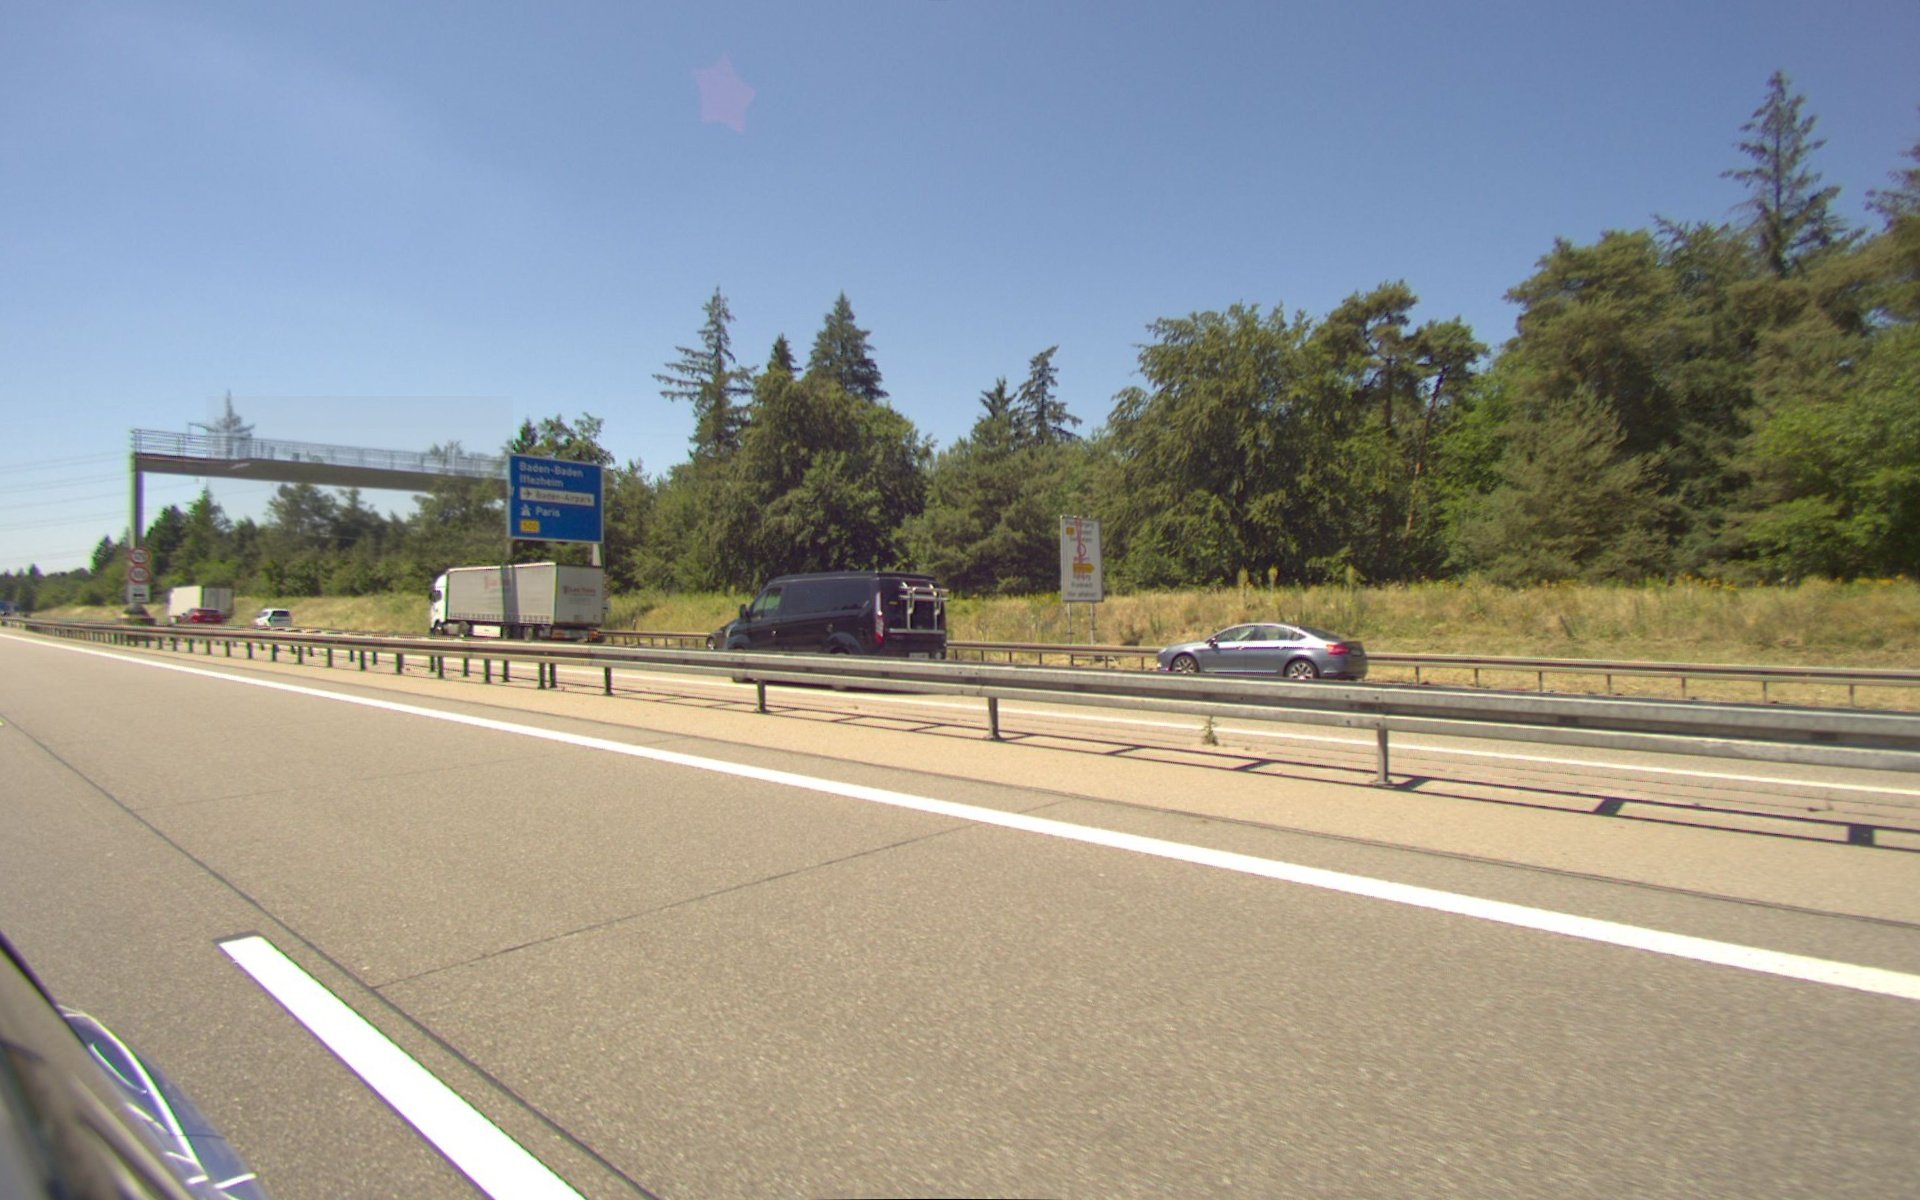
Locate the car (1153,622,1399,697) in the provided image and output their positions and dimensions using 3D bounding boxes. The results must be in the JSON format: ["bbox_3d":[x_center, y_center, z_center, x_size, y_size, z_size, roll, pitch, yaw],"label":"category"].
[{"bbox_3d":[6.988,1.252,22.742,4.942,1.474,1.906,-1,-1,42],"label":"car"}]

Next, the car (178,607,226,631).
[{"bbox_3d":[-54.077,1.340,72.167,4.920,1.622,1.827,0,0,42],"label":"car"}]

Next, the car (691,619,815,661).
[{"bbox_3d":[-7.830,1.442,37.962,4.942,1.474,2.063,-1,-1,42],"label":"car"}]

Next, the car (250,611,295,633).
[{"bbox_3d":[-56.690,1.793,83.407,4.989,1.763,1.972,-1,0,42],"label":"car"}]

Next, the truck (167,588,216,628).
[{"bbox_3d":[-81.213,0.849,106.869,6.217,4.048,3.178,-1,0,44],"label":"truck"}]

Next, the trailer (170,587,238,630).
[{"bbox_3d":[-76.672,0.831,102.445,14.364,4.073,3.178,-1,0,44],"label":"trailer"}]

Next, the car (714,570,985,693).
[{"bbox_3d":[-2.128,0.537,18.565,4.942,1.955,2.255,-1,-1,42],"label":"car"}]

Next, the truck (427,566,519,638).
[{"bbox_3d":[-28.402,0.098,58.957,5.401,3.960,3.133,-1,0,44],"label":"truck"}]

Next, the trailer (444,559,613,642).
[{"bbox_3d":[-23.369,0.041,54.085,13.967,3.960,3.133,0,0,44],"label":"trailer"}]
